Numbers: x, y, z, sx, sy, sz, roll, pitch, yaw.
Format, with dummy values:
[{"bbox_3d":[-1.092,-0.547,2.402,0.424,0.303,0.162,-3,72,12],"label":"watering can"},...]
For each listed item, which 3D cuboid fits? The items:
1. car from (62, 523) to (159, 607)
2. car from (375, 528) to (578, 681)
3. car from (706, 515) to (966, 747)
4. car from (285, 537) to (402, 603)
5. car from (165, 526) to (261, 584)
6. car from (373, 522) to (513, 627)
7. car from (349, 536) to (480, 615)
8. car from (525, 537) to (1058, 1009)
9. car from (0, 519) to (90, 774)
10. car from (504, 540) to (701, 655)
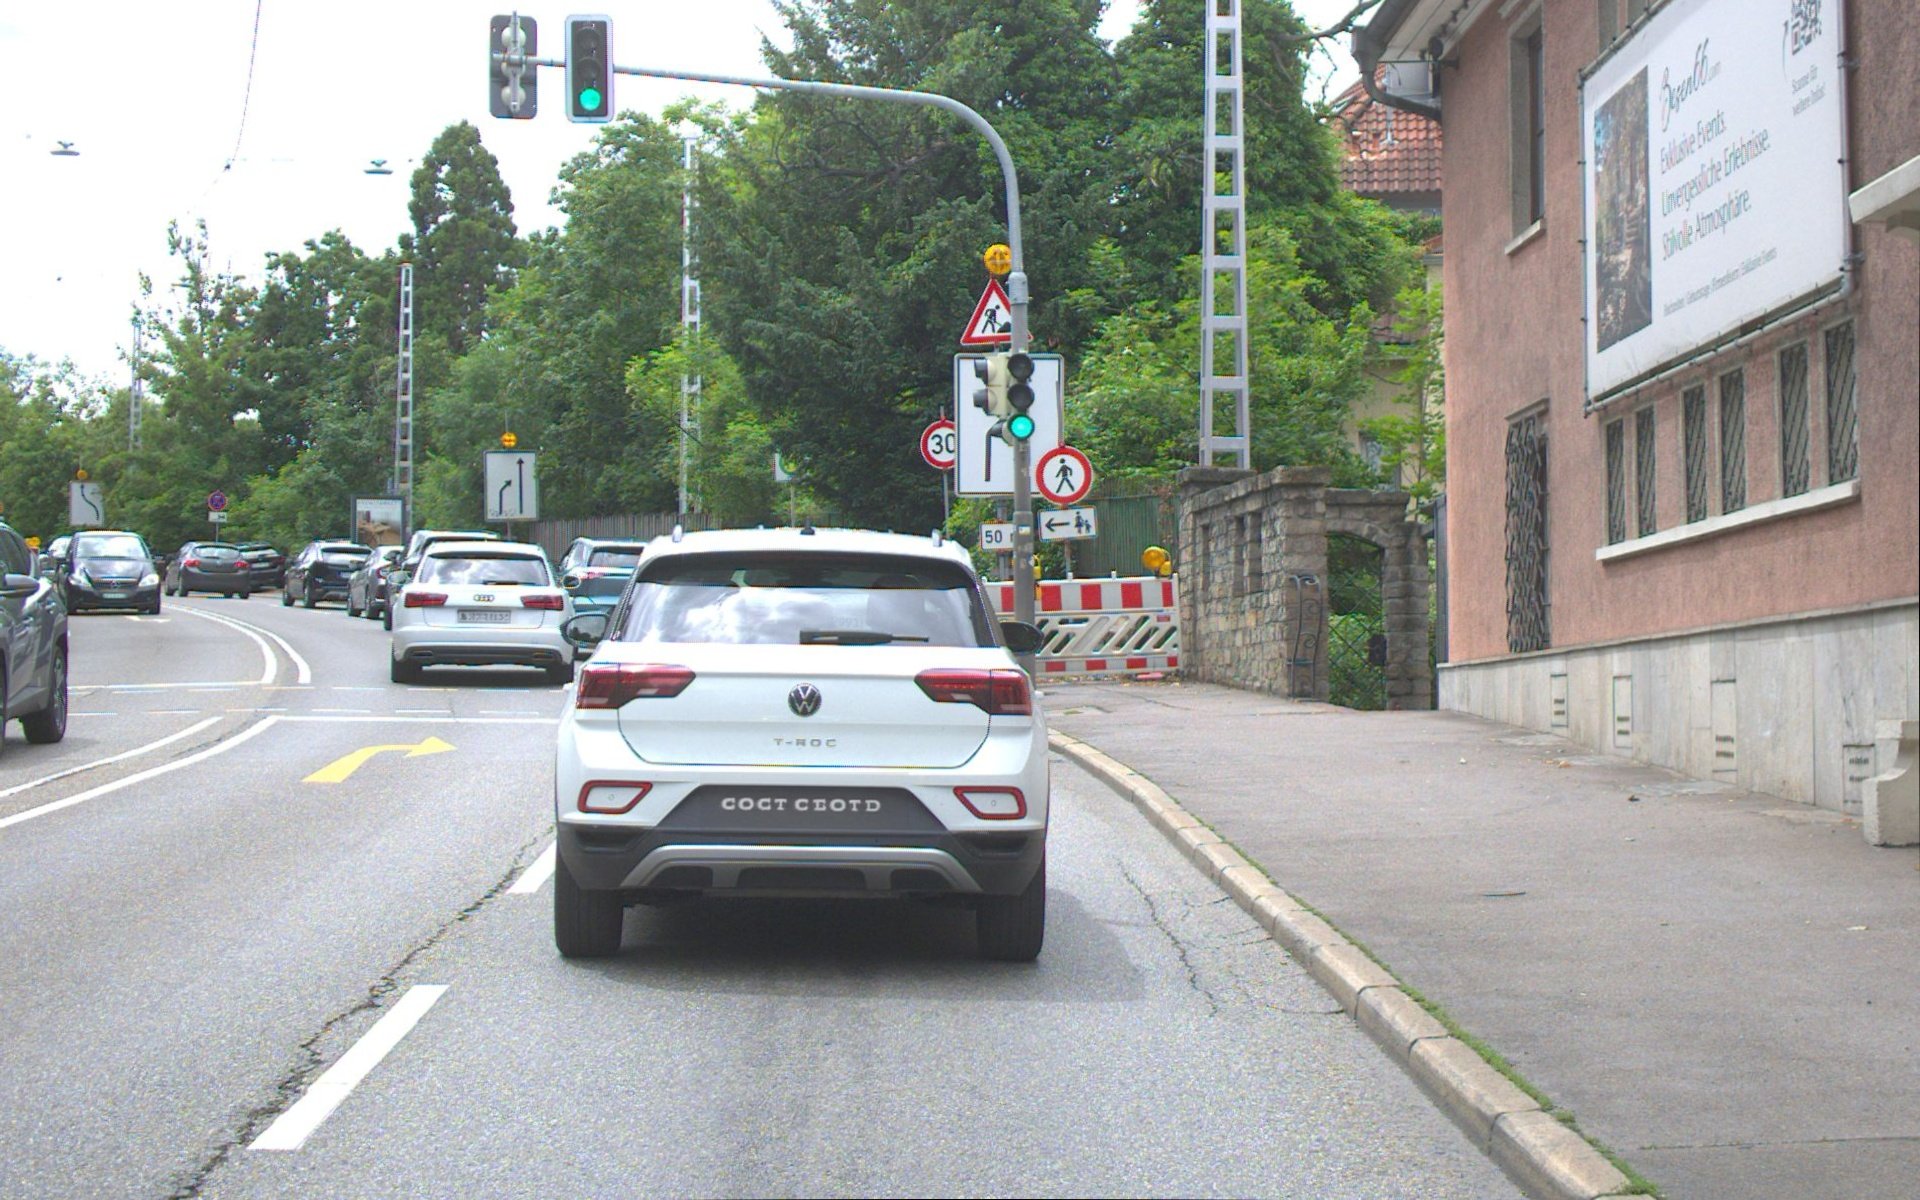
[{"bbox_3d":[-16.385,-0.693,66.224,1.754,1.561,3.680,0,1,-15],"label":"car"},{"bbox_3d":[-5.111,0.020,35.988,1.757,1.466,3.797,2,0,-13],"label":"car"},{"bbox_3d":[-1.021,0.206,26.414,1.757,1.604,3.796,2,0,-5],"label":"car"},{"bbox_3d":[-13.915,-0.677,77.440,1.993,1.445,4.152,0,0,-18],"label":"car"},{"bbox_3d":[-19.581,-1.175,90.033,1.780,1.449,4.001,1,1,-22],"label":"car"},{"bbox_3d":[-8.246,-0.432,54.571,1.993,1.551,4.152,1,1,-11],"label":"car"},{"bbox_3d":[-10.510,-0.468,65.982,1.993,1.445,4.152,0,0,-16],"label":"car"},{"bbox_3d":[-0.671,0.572,13.543,1.757,1.550,3.796,2,0,-3],"label":"car"},{"bbox_3d":[-7.237,0.262,23.521,1.848,1.626,4.362,0,1,-6],"label":"car"},{"bbox_3d":[-4.682,-0.043,44.531,1.993,1.409,4.152,0,0,-14],"label":"car"}]
